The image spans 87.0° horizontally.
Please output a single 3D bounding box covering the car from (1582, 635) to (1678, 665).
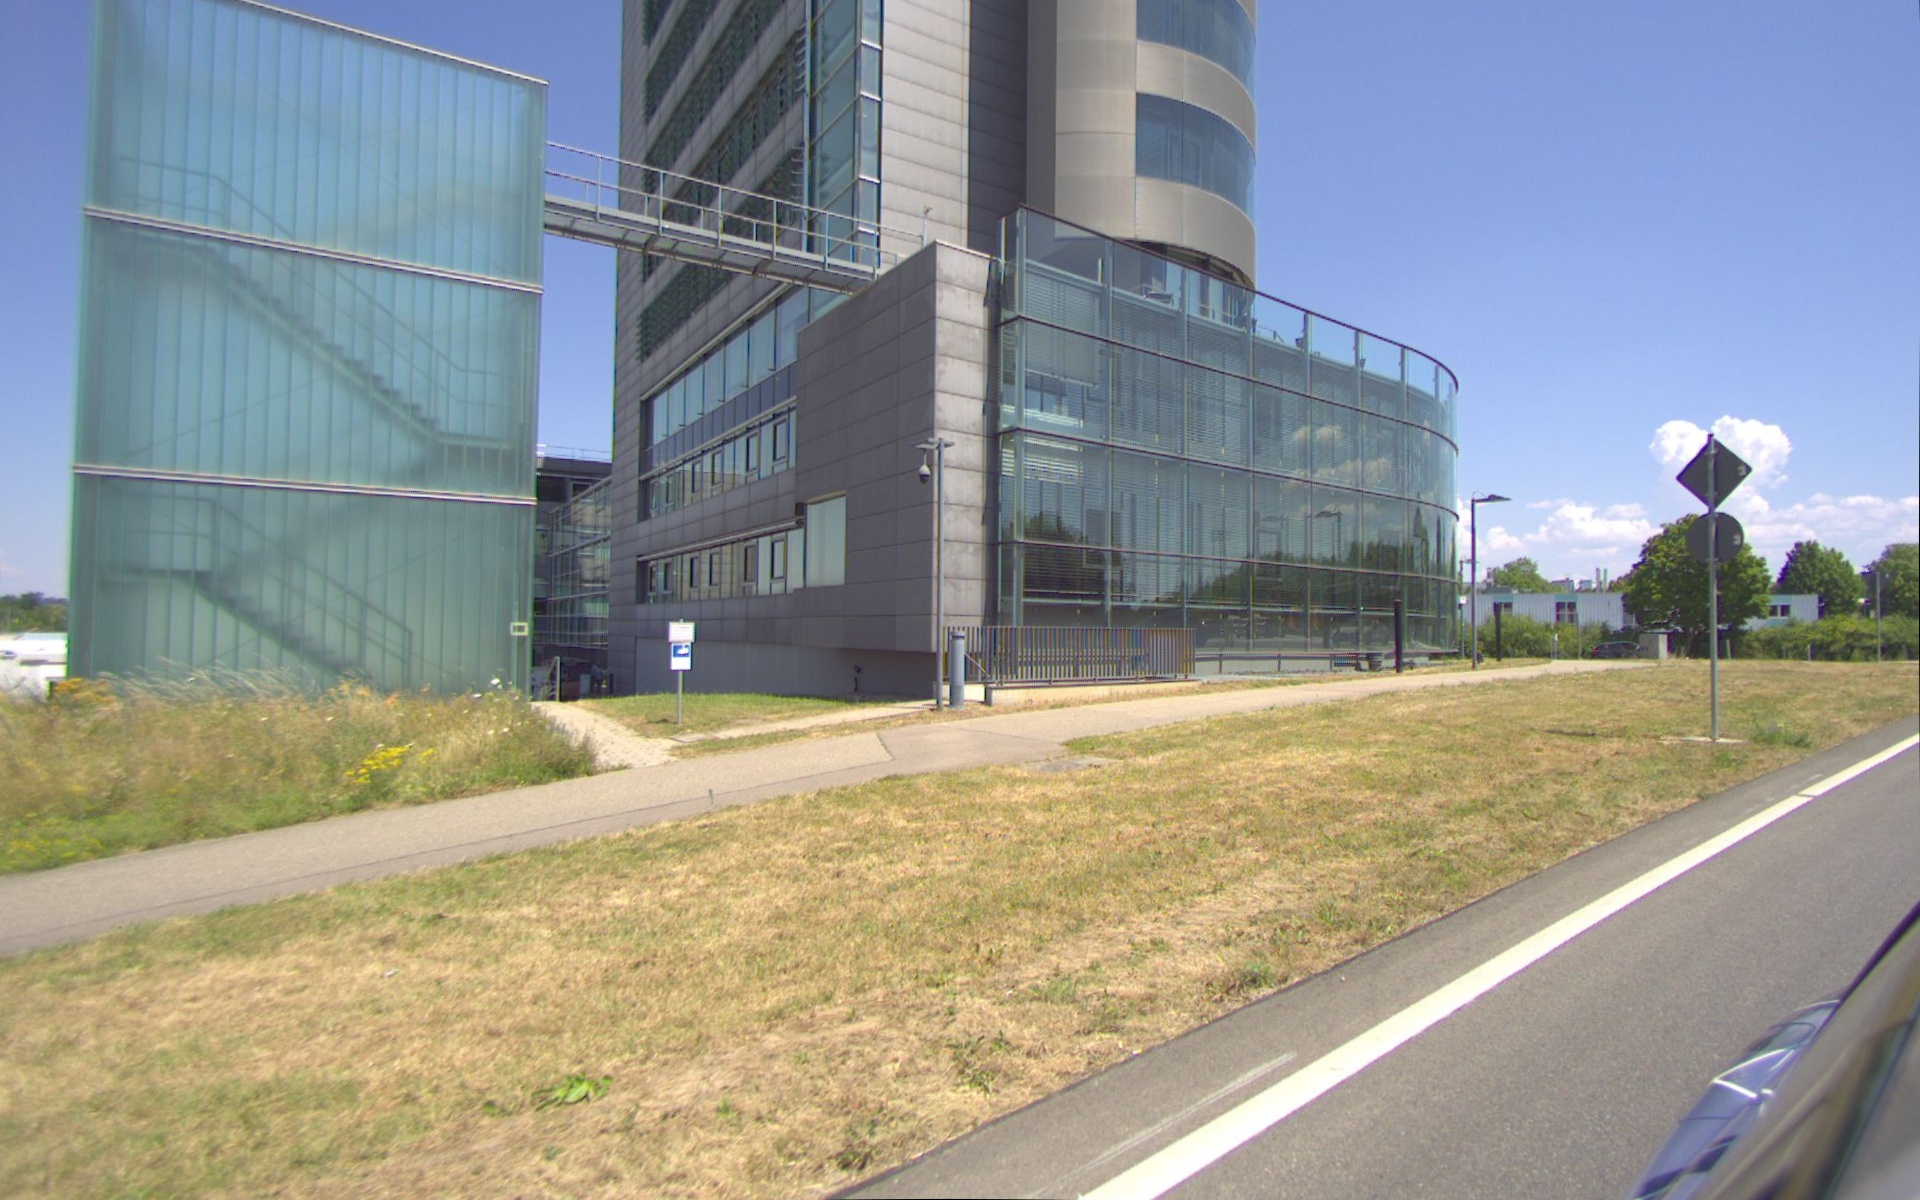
[{"bbox_3d":[37.454,2.797,56.659,4.323,1.620,1.913,-2,-4,35],"label":"car"}]

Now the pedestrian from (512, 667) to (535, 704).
[{"bbox_3d":[-21.865,4.275,50.696,0.935,1.780,0.751,0,-2,-30],"label":"pedestrian"}]
